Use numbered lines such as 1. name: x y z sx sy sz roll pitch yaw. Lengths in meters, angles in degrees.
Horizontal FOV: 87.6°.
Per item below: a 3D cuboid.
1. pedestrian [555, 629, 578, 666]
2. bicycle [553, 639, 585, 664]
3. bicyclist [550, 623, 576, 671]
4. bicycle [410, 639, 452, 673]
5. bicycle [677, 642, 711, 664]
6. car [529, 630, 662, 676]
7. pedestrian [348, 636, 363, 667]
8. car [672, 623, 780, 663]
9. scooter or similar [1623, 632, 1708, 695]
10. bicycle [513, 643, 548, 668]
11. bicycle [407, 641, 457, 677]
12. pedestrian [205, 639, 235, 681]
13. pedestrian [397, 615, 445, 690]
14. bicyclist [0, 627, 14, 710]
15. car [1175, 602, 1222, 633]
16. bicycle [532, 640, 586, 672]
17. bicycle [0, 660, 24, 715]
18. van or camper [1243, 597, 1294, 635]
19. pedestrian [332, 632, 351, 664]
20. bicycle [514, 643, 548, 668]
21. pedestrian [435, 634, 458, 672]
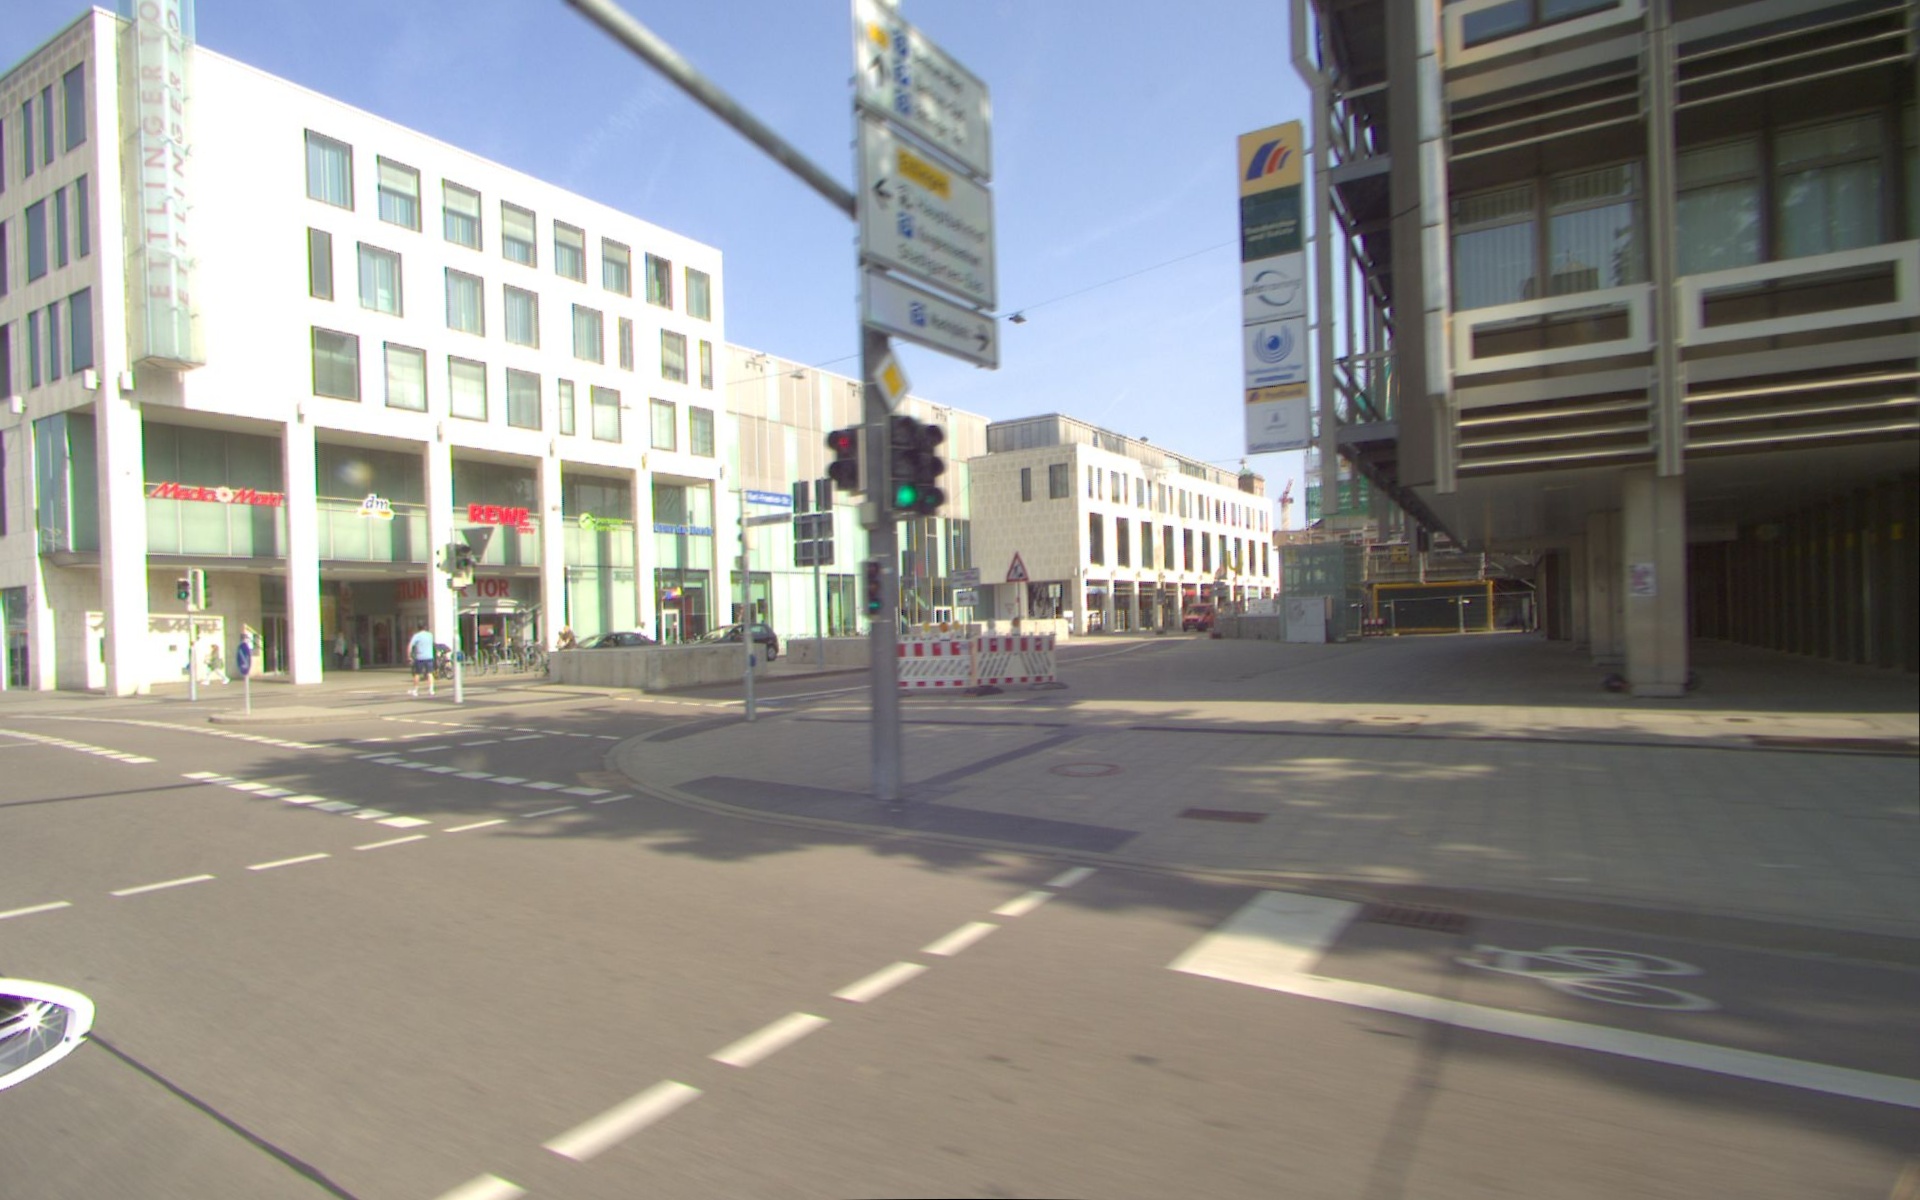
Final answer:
1. pedestrian: -16.524 1.990 42.064 0.724 1.504 0.602 -1 0 -1
2. bicycle: -16.030 2.105 41.080 1.650 0.969 0.456 -2 -1 39
3. bicyclist: -14.547 1.719 36.686 0.574 1.760 0.634 -1 0 30
4. bicycle: -19.716 2.089 37.327 1.766 1.215 0.499 -2 -1 29
5. bicycle: -12.292 2.442 46.266 1.690 0.969 0.458 -2 -1 29
6. car: -12.355 1.776 34.137 1.852 1.384 3.882 -3 -2 34
7. pedestrian: -26.894 2.301 44.572 0.449 1.358 0.391 -1 0 30
8. car: -9.138 1.675 39.302 1.854 1.420 3.891 -2 -2 34
9. scooter or similar: 9.932 0.888 14.117 0.945 0.854 0.278 -2 0 30
10. bicycle: -17.032 2.182 39.674 1.834 0.969 0.456 -2 -1 39
11. bicycle: -18.902 2.116 35.830 2.041 1.253 0.612 -2 -1 32
12. pedestrian: -27.415 2.224 37.077 0.596 1.507 0.706 -1 0 32
13. pedestrian: -12.796 1.240 23.757 0.977 1.733 0.640 -1 0 38
14. bicyclist: -20.981 1.485 21.594 0.758 1.772 0.650 -1 0 32
15. car: 20.199 1.515 84.754 2.392 2.440 4.984 -2 -3 32
16. bicycle: -14.624 2.038 36.528 0.603 1.031 1.798 -1 2 30
17. bicycle: -20.974 1.880 21.595 2.022 1.132 0.659 -2 -1 33
18. van or camper: 20.941 1.068 67.883 1.972 2.441 5.116 -1 -1 33
19. pedestrian: -27.885 2.151 45.145 0.485 1.402 0.563 -1 0 25
20. bicycle: -17.405 2.235 40.643 1.834 0.969 0.456 -2 -1 39
21. pedestrian: -19.182 1.971 37.392 0.539 1.374 0.511 -1 0 23
